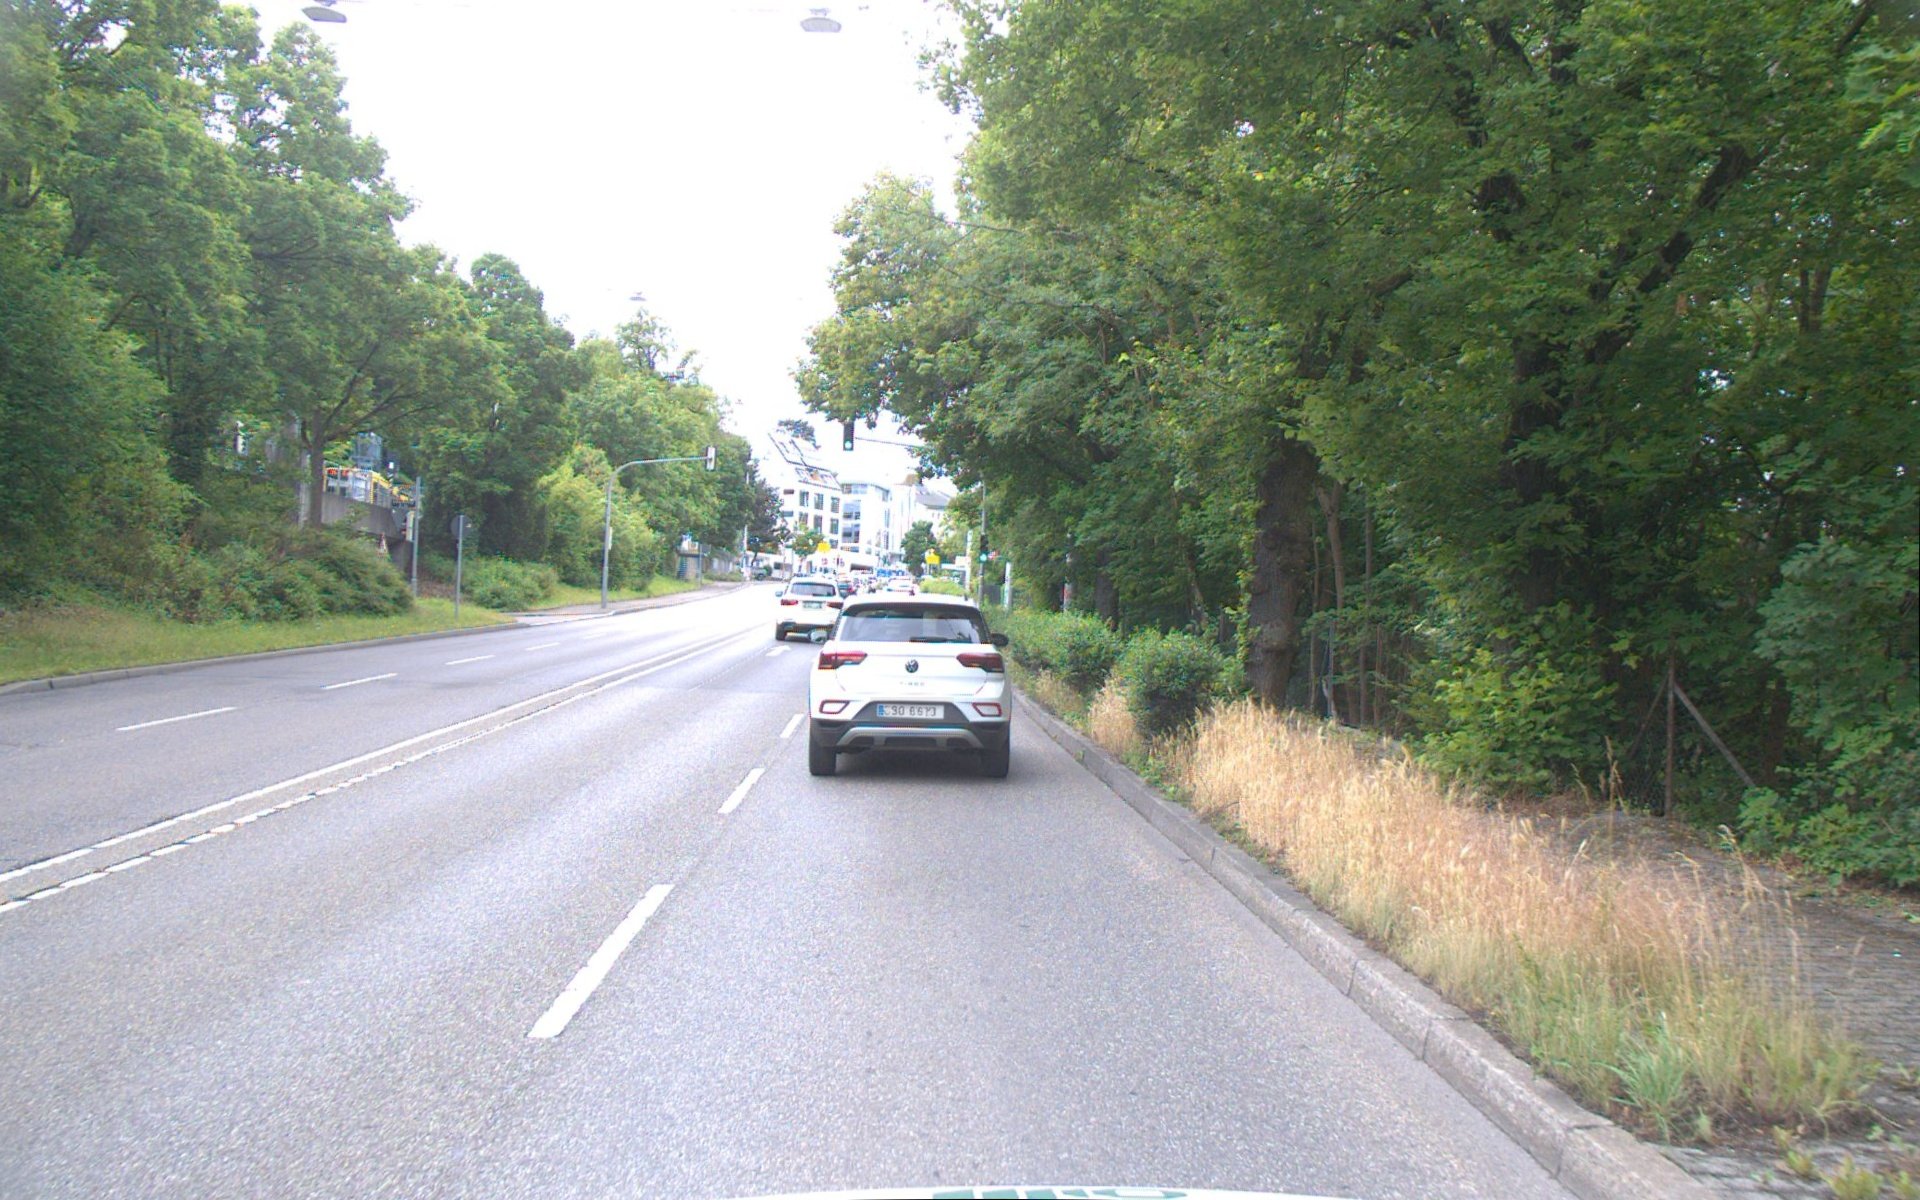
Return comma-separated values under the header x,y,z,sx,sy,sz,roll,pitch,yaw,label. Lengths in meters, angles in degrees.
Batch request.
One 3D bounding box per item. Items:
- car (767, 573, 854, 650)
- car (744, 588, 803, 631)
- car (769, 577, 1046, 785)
x,y,z,sx,sy,sz,roll,pitch,yaw,label
-4.013,0.268,43.941,1.818,1.732,3.991,4,1,-11,car
-7.163,0.348,63.315,1.914,1.491,3.990,1,1,-11,car
-0.636,0.659,15.399,1.965,1.624,3.990,-1,0,-11,car
